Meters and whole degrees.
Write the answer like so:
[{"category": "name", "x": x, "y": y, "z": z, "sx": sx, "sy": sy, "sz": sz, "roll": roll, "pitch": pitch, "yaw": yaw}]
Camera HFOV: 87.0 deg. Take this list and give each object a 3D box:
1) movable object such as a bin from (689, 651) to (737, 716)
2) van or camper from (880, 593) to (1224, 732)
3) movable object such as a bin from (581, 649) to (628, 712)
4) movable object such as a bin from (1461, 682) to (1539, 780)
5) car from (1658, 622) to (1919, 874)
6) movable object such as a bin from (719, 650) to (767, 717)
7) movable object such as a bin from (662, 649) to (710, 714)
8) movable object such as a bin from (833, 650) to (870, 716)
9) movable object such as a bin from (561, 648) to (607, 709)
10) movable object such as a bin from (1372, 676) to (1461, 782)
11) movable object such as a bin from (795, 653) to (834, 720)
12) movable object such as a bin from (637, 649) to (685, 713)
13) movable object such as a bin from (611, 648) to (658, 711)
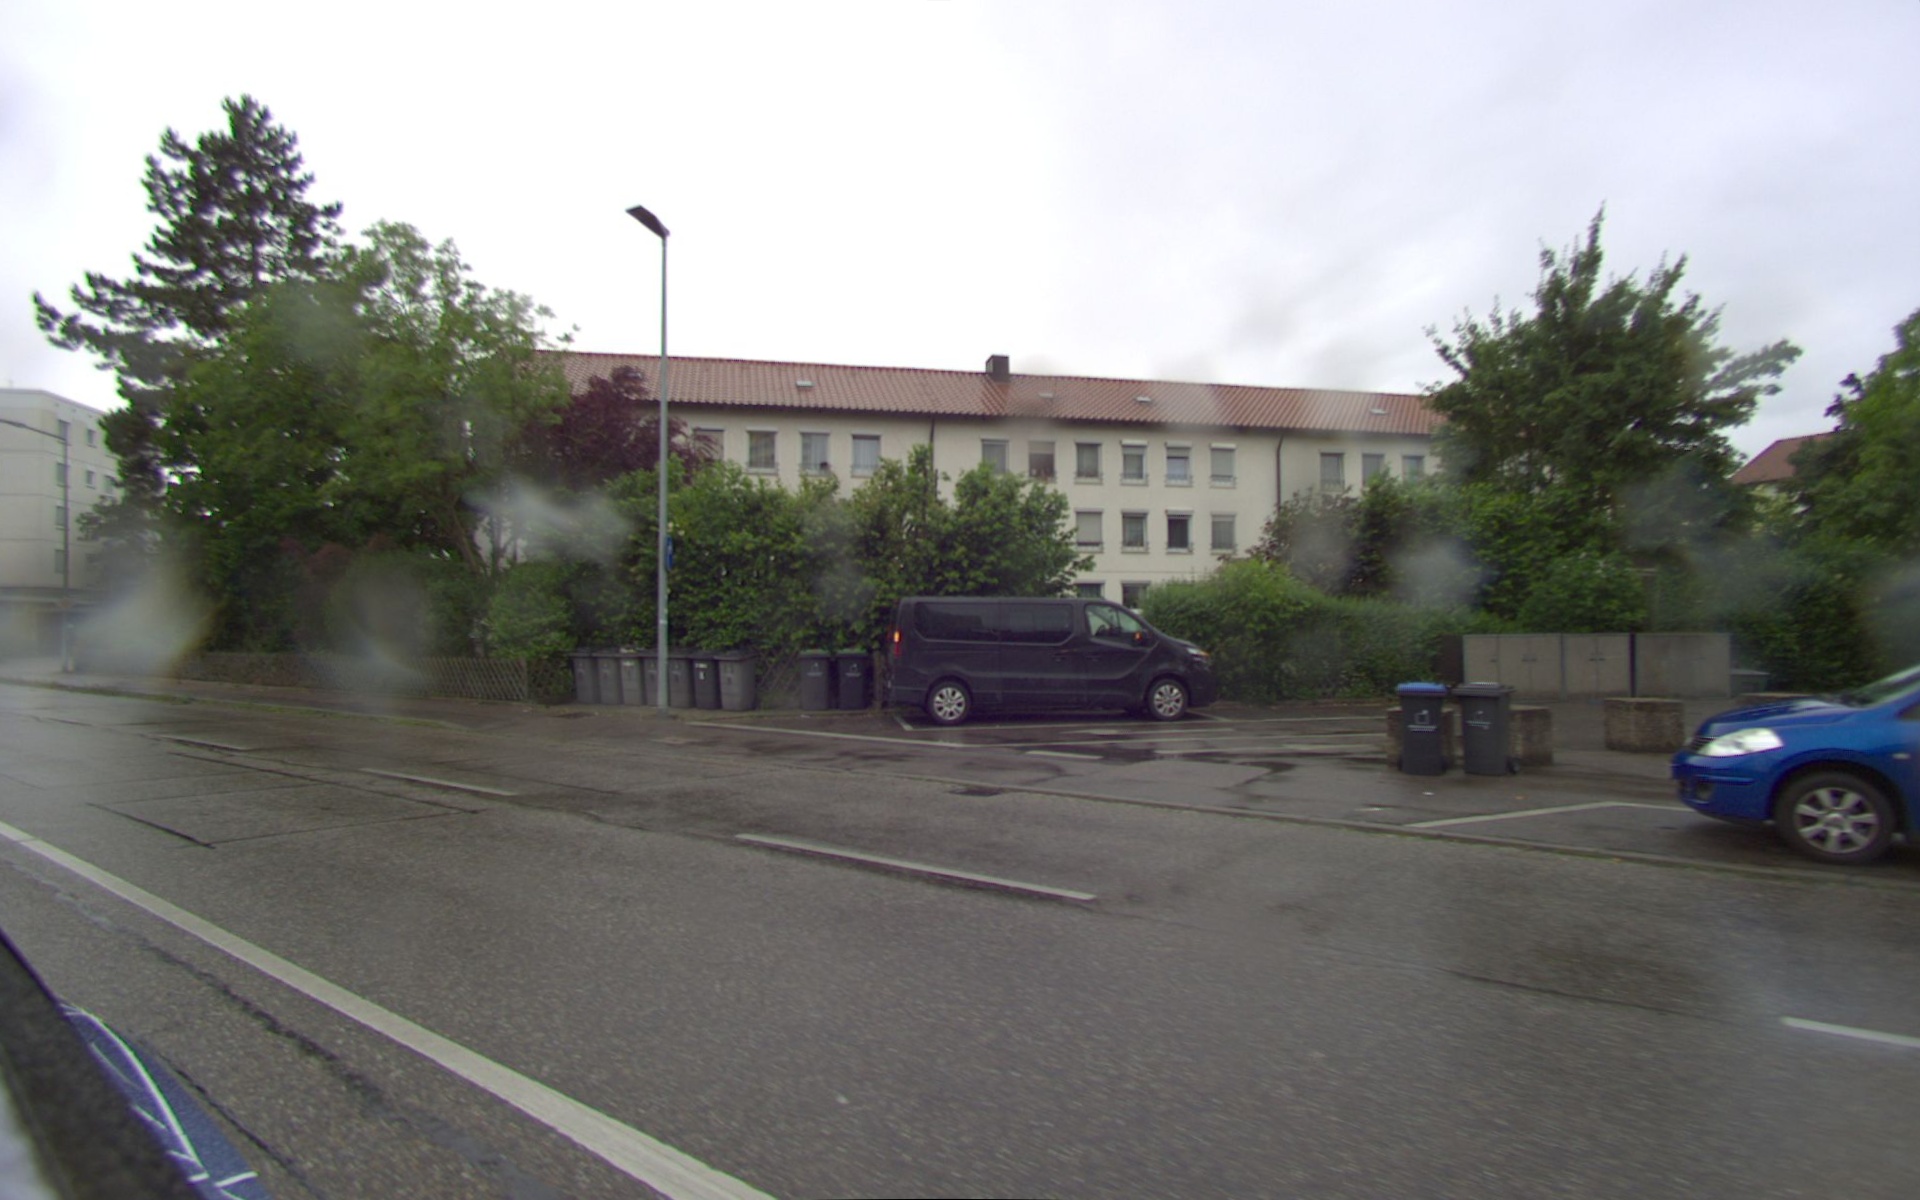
[{"category": "movable object such as a bin", "x": -4.373, "y": 1.465, "z": 17.941, "sx": 0.597, "sy": 1.127, "sz": 0.596, "roll": -1, "pitch": -2, "yaw": 23}, {"category": "van or camper", "x": 1.362, "y": 0.969, "z": 16.355, "sx": 5.135, "sy": 1.939, "sz": 2.003, "roll": -1, "pitch": -3, "yaw": -8}, {"category": "movable object such as a bin", "x": -6.664, "y": 1.495, "z": 18.960, "sx": 0.599, "sy": 1.127, "sz": 0.594, "roll": -2, "pitch": -2, "yaw": 33}, {"category": "movable object such as a bin", "x": 5.444, "y": 1.300, "z": 10.201, "sx": 0.597, "sy": 0.910, "sz": 0.568, "roll": -2, "pitch": -3, "yaw": 36}, {"category": "car", "x": 7.046, "y": 0.898, "z": 6.358, "sx": 4.316, "sy": 1.532, "sz": 1.637, "roll": -2, "pitch": -2, "yaw": 36}, {"category": "movable object such as a bin", "x": -3.794, "y": 1.448, "z": 17.726, "sx": 0.597, "sy": 1.127, "sz": 0.596, "roll": -1, "pitch": -2, "yaw": 23}, {"category": "movable object such as a bin", "x": -4.932, "y": 1.456, "z": 18.218, "sx": 0.597, "sy": 1.127, "sz": 0.596, "roll": -1, "pitch": -2, "yaw": 23}, {"category": "movable object such as a bin", "x": -1.884, "y": 1.442, "z": 17.652, "sx": 0.593, "sy": 1.127, "sz": 0.601, "roll": 0, "pitch": -2, "yaw": 0}, {"category": "movable object such as a bin", "x": -7.176, "y": 1.485, "z": 19.313, "sx": 0.599, "sy": 1.127, "sz": 0.594, "roll": -1, "pitch": -2, "yaw": 33}, {"category": "movable object such as a bin", "x": 4.578, "y": 1.267, "z": 10.140, "sx": 0.681, "sy": 0.973, "sz": 0.642, "roll": -2, "pitch": -3, "yaw": 36}, {"category": "movable object such as a bin", "x": -2.517, "y": 1.492, "z": 17.508, "sx": 0.593, "sy": 1.127, "sz": 0.601, "roll": 0, "pitch": -2, "yaw": 0}, {"category": "movable object such as a bin", "x": -5.471, "y": 1.468, "z": 18.526, "sx": 0.597, "sy": 1.127, "sz": 0.596, "roll": -1, "pitch": -2, "yaw": 23}, {"category": "movable object such as a bin", "x": -6.031, "y": 1.466, "z": 18.775, "sx": 0.599, "sy": 1.127, "sz": 0.594, "roll": -2, "pitch": -2, "yaw": 34}]
